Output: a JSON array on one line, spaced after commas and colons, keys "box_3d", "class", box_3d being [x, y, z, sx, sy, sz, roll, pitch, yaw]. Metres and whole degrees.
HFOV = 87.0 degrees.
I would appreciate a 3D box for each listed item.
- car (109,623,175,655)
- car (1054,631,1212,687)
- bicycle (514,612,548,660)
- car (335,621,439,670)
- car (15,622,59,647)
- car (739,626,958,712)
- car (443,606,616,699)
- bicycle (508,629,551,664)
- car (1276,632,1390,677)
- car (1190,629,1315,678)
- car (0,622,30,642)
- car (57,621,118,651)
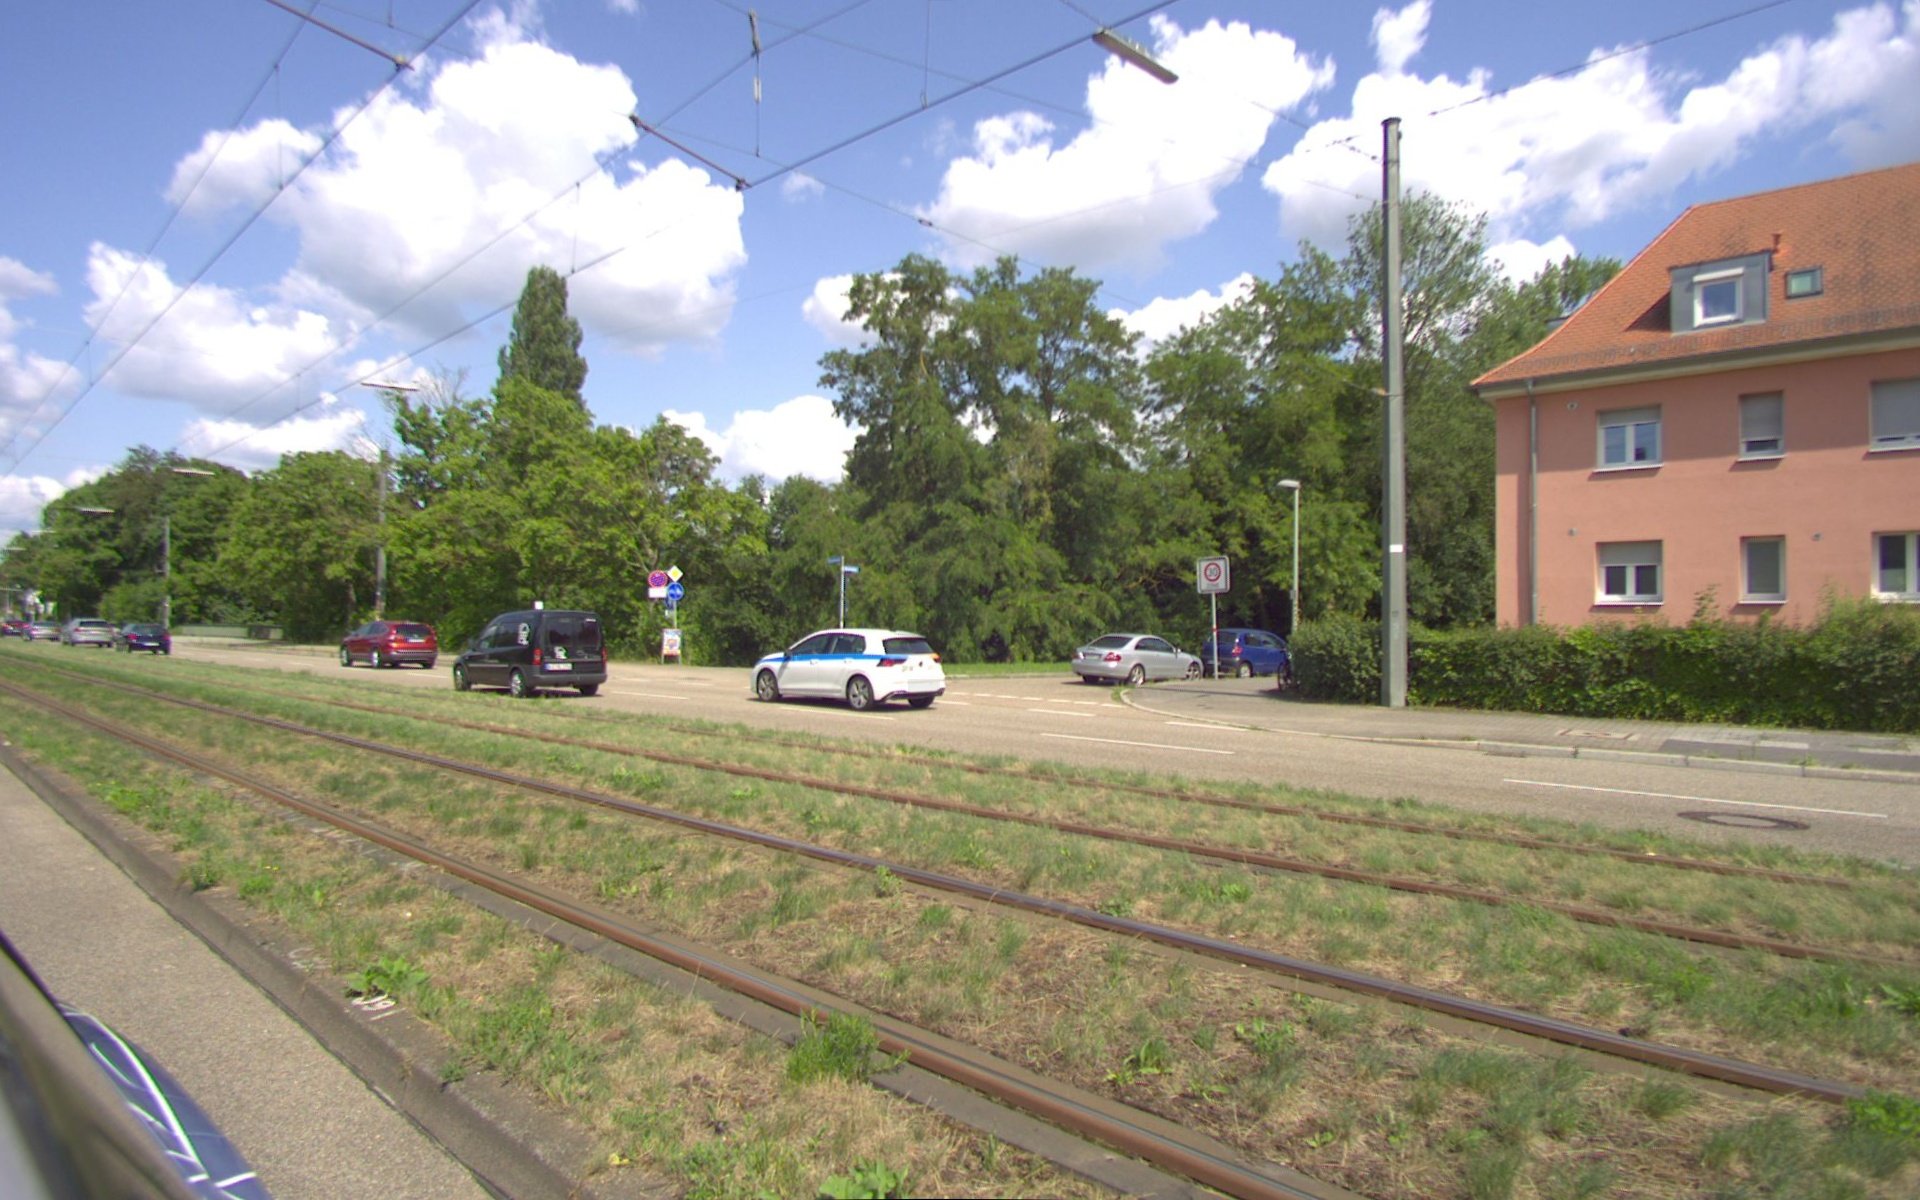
[{"box_3d": [-37.518, 1.742, 46.399, 4.276, 1.405, 1.709, -1, -2, 42], "class": "car"}, {"box_3d": [4.855, 1.576, 28.081, 4.403, 1.416, 2.003, 1, -2, -42], "class": "car"}, {"box_3d": [-15.303, 1.270, 36.093, 0.952, 1.697, 0.790, -1, -2, 41], "class": "bicycle"}, {"box_3d": [-19.743, 1.519, 34.816, 4.273, 1.591, 1.710, -1, -2, 40], "class": "car"}, {"box_3d": [-64.647, 2.408, 70.878, 4.276, 1.664, 1.896, -1, -2, 42], "class": "car"}, {"box_3d": [-2.187, 1.217, 19.100, 4.274, 1.442, 1.668, -1, -2, 41], "class": "car"}, {"box_3d": [-9.093, 1.043, 21.215, 4.225, 1.760, 1.668, -1, -2, 41], "class": "car"}, {"box_3d": [-15.388, 1.651, 36.148, 1.956, 1.197, 0.634, -1, -2, 42], "class": "bicycle"}, {"box_3d": [12.449, 1.769, 33.744, 3.581, 1.416, 1.854, 1, -2, -35], "class": "car"}, {"box_3d": [9.078, 1.616, 31.348, 3.581, 1.416, 1.854, 1, -2, -35], "class": "car"}, {"box_3d": [-78.976, 2.651, 84.144, 4.276, 1.664, 2.093, -1, -2, 42], "class": "car"}, {"box_3d": [-49.632, 2.010, 57.543, 4.276, 1.664, 2.093, -1, -2, 42], "class": "car"}]
